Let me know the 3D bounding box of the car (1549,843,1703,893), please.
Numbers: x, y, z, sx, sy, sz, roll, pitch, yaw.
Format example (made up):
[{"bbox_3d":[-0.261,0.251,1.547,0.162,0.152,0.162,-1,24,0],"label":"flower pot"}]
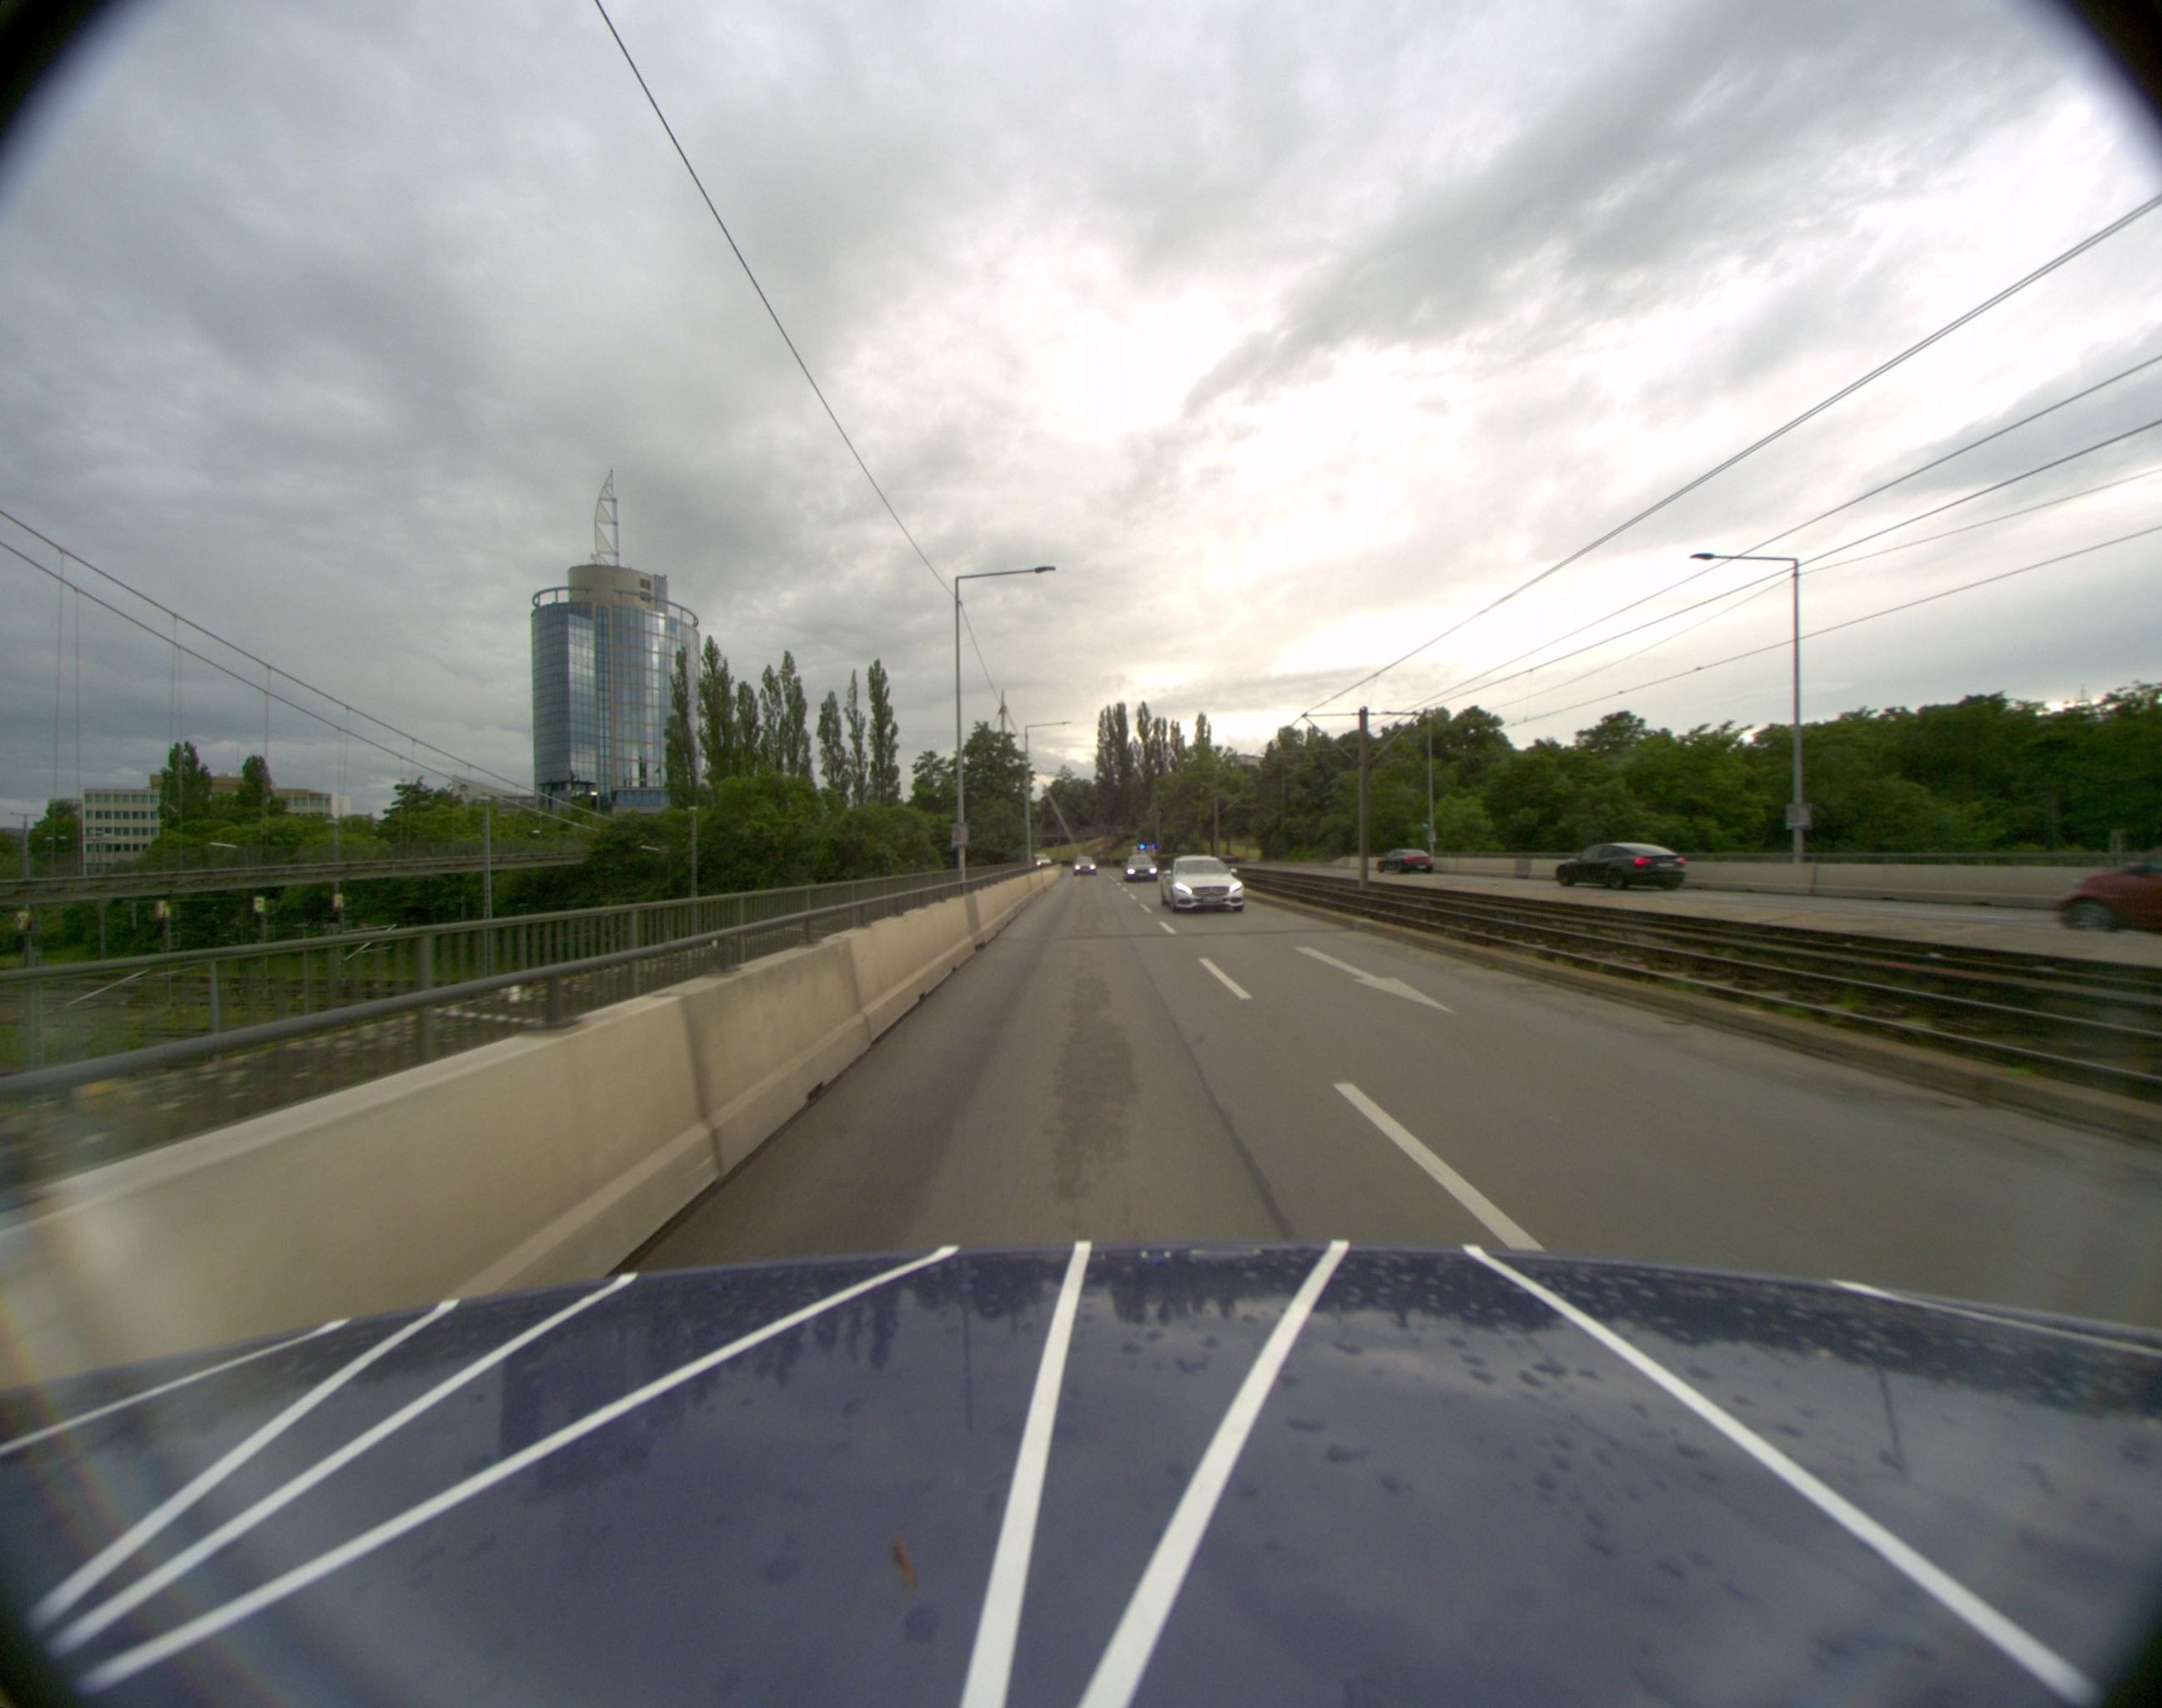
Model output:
[{"bbox_3d":[18.934,0.480,26.743,1.901,1.588,4.731,0,-1,-2],"label":"car"}]

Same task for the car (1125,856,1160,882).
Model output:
[{"bbox_3d":[3.429,0.811,42.850,1.736,1.344,4.000,-1,0,1],"label":"car"}]

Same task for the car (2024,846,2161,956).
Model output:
[{"bbox_3d":[15.607,0.653,10.400,1.604,1.485,3.017,0,1,0],"label":"car"}]

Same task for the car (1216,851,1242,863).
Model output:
[{"bbox_3d":[17.757,0.350,91.329,1.842,1.306,4.618,-3,-1,-3],"label":"car"}]

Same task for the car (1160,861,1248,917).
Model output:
[{"bbox_3d":[3.268,0.878,20.865,1.871,1.348,4.061,-1,0,2],"label":"car"}]

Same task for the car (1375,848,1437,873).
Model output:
[{"bbox_3d":[19.570,0.394,45.963,1.821,1.428,4.741,-1,0,1],"label":"car"}]

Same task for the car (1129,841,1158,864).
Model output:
[{"bbox_3d":[9.021,-0.206,109.773,2.398,3.097,6.350,-2,0,-11],"label":"car"}]

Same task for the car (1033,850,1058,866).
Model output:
[{"bbox_3d":[-4.375,0.480,92.801,1.771,1.806,3.993,-2,0,-21],"label":"car"}]

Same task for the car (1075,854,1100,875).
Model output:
[{"bbox_3d":[0.472,0.795,58.989,1.768,1.492,3.999,-1,0,-2],"label":"car"}]
